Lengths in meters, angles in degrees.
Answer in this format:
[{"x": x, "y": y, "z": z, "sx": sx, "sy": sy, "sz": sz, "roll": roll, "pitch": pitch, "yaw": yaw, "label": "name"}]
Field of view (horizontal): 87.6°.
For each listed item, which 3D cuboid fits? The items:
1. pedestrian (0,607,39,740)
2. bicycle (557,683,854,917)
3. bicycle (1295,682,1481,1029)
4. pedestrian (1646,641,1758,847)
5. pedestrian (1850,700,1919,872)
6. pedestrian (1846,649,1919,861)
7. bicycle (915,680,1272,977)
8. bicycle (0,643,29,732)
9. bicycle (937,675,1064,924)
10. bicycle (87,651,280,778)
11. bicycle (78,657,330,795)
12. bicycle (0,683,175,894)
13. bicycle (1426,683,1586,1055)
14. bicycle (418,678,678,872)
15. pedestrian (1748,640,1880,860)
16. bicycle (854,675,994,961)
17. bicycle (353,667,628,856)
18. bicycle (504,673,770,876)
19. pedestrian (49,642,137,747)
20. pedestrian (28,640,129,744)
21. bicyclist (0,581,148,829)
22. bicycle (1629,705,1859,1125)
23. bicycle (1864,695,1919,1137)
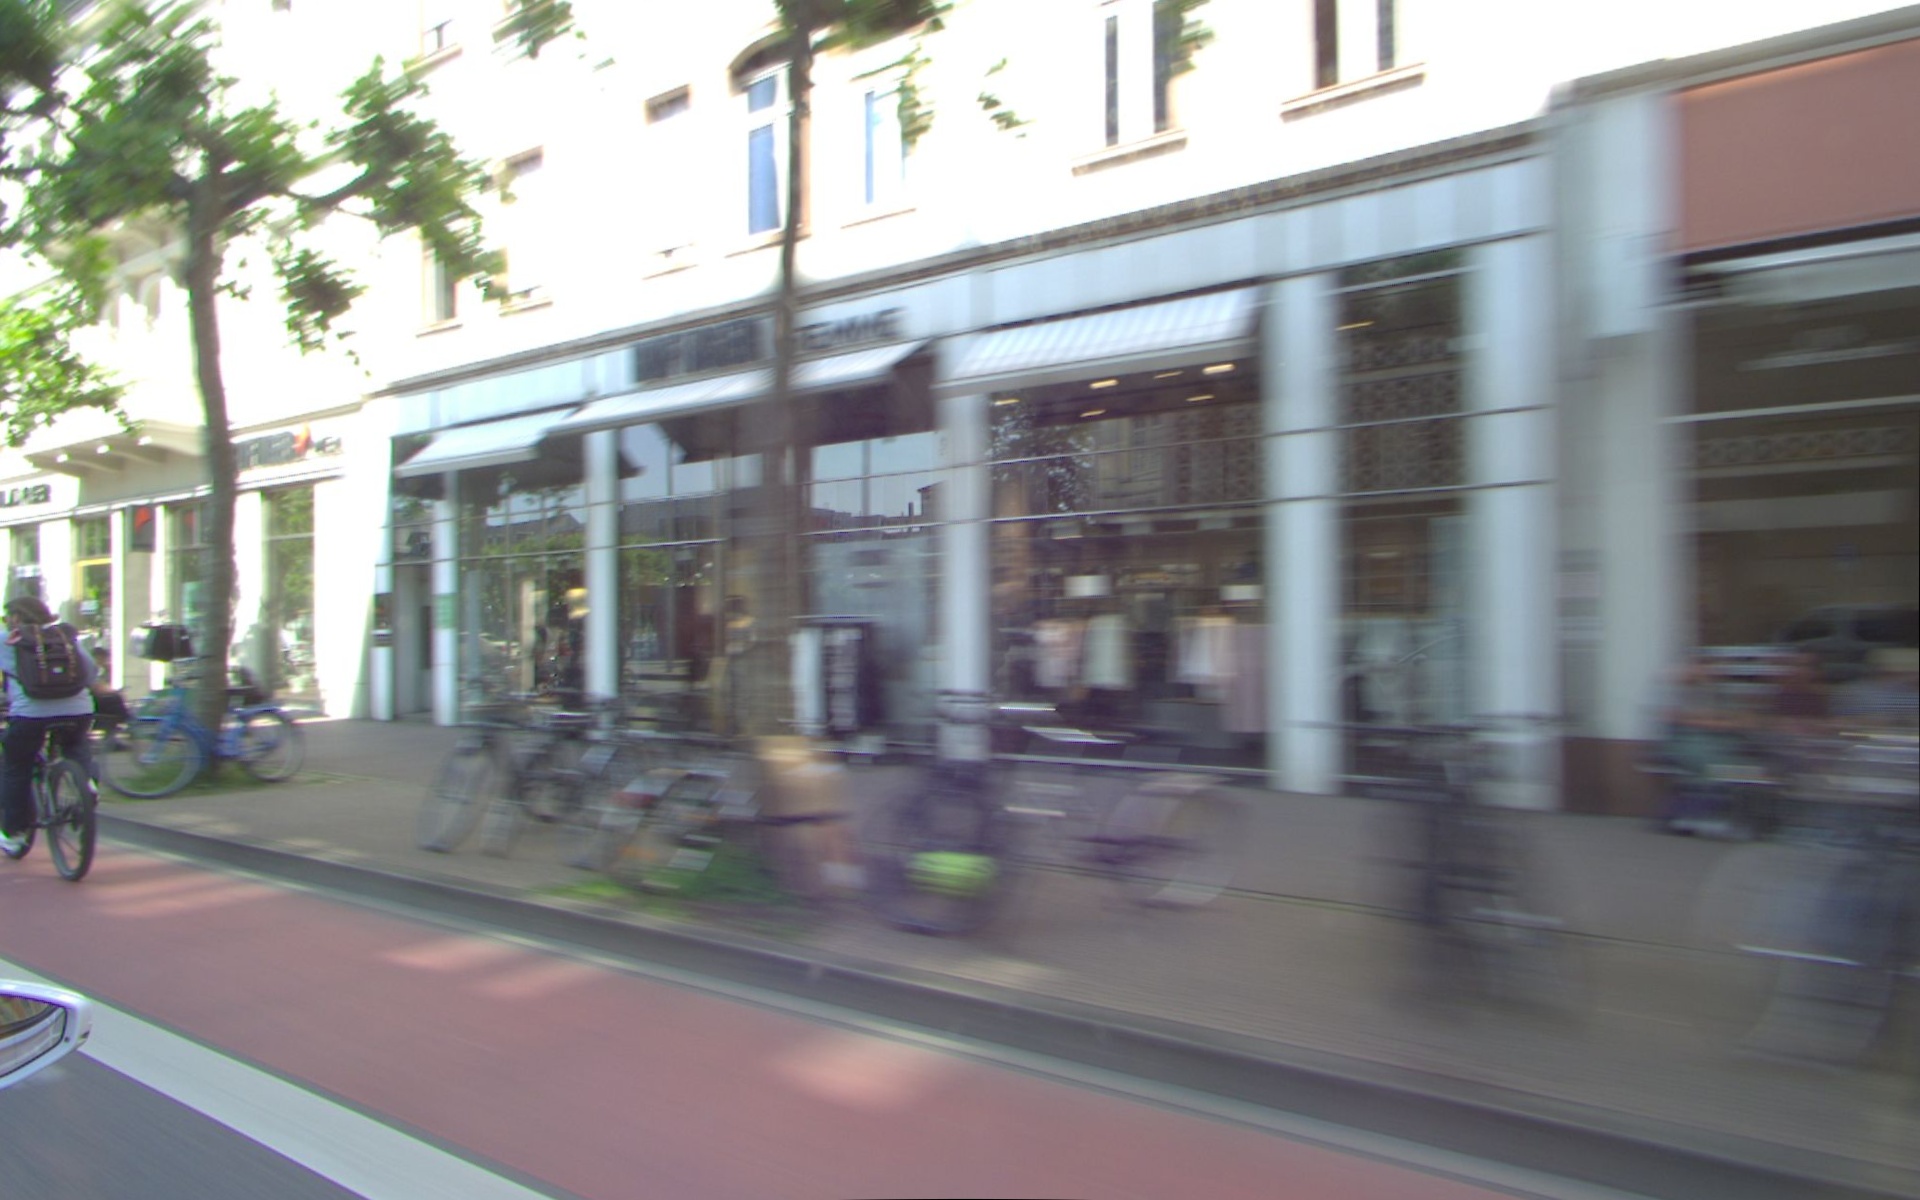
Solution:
[{"x": -12.720, "y": 0.944, "z": 13.112, "sx": 0.830, "sy": 1.709, "sz": 0.639, "roll": 0, "pitch": -3, "yaw": 28, "label": "pedestrian"}, {"x": -1.399, "y": 1.064, "z": 5.890, "sx": 0.556, "sy": 1.107, "sz": 1.839, "roll": -1, "pitch": -3, "yaw": 30, "label": "bicycle"}, {"x": 1.963, "y": 0.979, "z": 4.454, "sx": 0.442, "sy": 1.141, "sz": 1.836, "roll": -2, "pitch": -2, "yaw": 33, "label": "bicycle"}, {"x": 5.187, "y": 0.969, "z": 7.031, "sx": 0.523, "sy": 1.350, "sz": 0.681, "roll": 0, "pitch": -1, "yaw": 28, "label": "pedestrian"}, {"x": 5.709, "y": 1.116, "z": 6.052, "sx": 0.431, "sy": 0.980, "sz": 0.340, "roll": 0, "pitch": -1, "yaw": 32, "label": "pedestrian"}, {"x": 6.129, "y": 0.968, "z": 6.413, "sx": 0.523, "sy": 1.270, "sz": 0.680, "roll": 0, "pitch": 0, "yaw": 28, "label": "pedestrian"}, {"x": 0.692, "y": 0.999, "z": 4.816, "sx": 1.820, "sy": 1.141, "sz": 0.446, "roll": 0, "pitch": -2, "yaw": -32, "label": "bicycle"}, {"x": -13.777, "y": 1.177, "z": 13.399, "sx": 0.665, "sy": 1.212, "sz": 1.834, "roll": -1, "pitch": -3, "yaw": 37, "label": "bicycle"}, {"x": 0.179, "y": 1.046, "z": 5.851, "sx": 0.439, "sy": 1.141, "sz": 1.846, "roll": -1, "pitch": -2, "yaw": -7, "label": "bicycle"}, {"x": -8.147, "y": 1.154, "z": 10.620, "sx": 0.566, "sy": 1.212, "sz": 1.781, "roll": 0, "pitch": -2, "yaw": 3, "label": "bicycle"}, {"x": -6.976, "y": 1.128, "z": 9.368, "sx": 0.489, "sy": 1.140, "sz": 1.843, "roll": 1, "pitch": -3, "yaw": 22, "label": "bicycle"}, {"x": -6.077, "y": 1.144, "z": 6.524, "sx": 2.049, "sy": 1.141, "sz": 0.698, "roll": -1, "pitch": -3, "yaw": 27, "label": "bicycle"}, {"x": 2.361, "y": 0.971, "z": 4.239, "sx": 0.442, "sy": 1.141, "sz": 1.836, "roll": -2, "pitch": -2, "yaw": 33, "label": "bicycle"}, {"x": -2.748, "y": 1.116, "z": 6.930, "sx": 0.555, "sy": 1.107, "sz": 1.844, "roll": 0, "pitch": -3, "yaw": 20, "label": "bicycle"}, {"x": 5.653, "y": 0.950, "z": 6.662, "sx": 0.523, "sy": 1.355, "sz": 0.681, "roll": 0, "pitch": -1, "yaw": 28, "label": "pedestrian"}, {"x": -0.239, "y": 1.001, "z": 5.231, "sx": 0.582, "sy": 1.141, "sz": 1.846, "roll": -1, "pitch": -2, "yaw": -5, "label": "bicycle"}, {"x": -3.221, "y": 1.058, "z": 7.096, "sx": 0.621, "sy": 1.140, "sz": 1.844, "roll": -1, "pitch": -4, "yaw": 20, "label": "bicycle"}, {"x": -2.050, "y": 1.064, "z": 6.678, "sx": 0.752, "sy": 1.140, "sz": 1.845, "roll": -1, "pitch": -4, "yaw": 17, "label": "bicycle"}, {"x": -10.708, "y": 1.153, "z": 12.380, "sx": 0.588, "sy": 1.248, "sz": 0.639, "roll": -2, "pitch": -3, "yaw": 28, "label": "pedestrian"}, {"x": -11.126, "y": 1.149, "z": 12.650, "sx": 0.567, "sy": 1.258, "sz": 0.787, "roll": -2, "pitch": -3, "yaw": 28, "label": "pedestrian"}, {"x": -5.925, "y": 0.645, "z": 6.461, "sx": 0.946, "sy": 1.463, "sz": 0.698, "roll": -1, "pitch": -3, "yaw": 27, "label": "bicyclist"}, {"x": 2.990, "y": 0.994, "z": 3.750, "sx": 0.524, "sy": 1.140, "sz": 1.831, "roll": -2, "pitch": -4, "yaw": 42, "label": "bicycle"}, {"x": 3.588, "y": 0.957, "z": 3.380, "sx": 0.753, "sy": 1.141, "sz": 1.975, "roll": -2, "pitch": -2, "yaw": 43, "label": "bicycle"}]
